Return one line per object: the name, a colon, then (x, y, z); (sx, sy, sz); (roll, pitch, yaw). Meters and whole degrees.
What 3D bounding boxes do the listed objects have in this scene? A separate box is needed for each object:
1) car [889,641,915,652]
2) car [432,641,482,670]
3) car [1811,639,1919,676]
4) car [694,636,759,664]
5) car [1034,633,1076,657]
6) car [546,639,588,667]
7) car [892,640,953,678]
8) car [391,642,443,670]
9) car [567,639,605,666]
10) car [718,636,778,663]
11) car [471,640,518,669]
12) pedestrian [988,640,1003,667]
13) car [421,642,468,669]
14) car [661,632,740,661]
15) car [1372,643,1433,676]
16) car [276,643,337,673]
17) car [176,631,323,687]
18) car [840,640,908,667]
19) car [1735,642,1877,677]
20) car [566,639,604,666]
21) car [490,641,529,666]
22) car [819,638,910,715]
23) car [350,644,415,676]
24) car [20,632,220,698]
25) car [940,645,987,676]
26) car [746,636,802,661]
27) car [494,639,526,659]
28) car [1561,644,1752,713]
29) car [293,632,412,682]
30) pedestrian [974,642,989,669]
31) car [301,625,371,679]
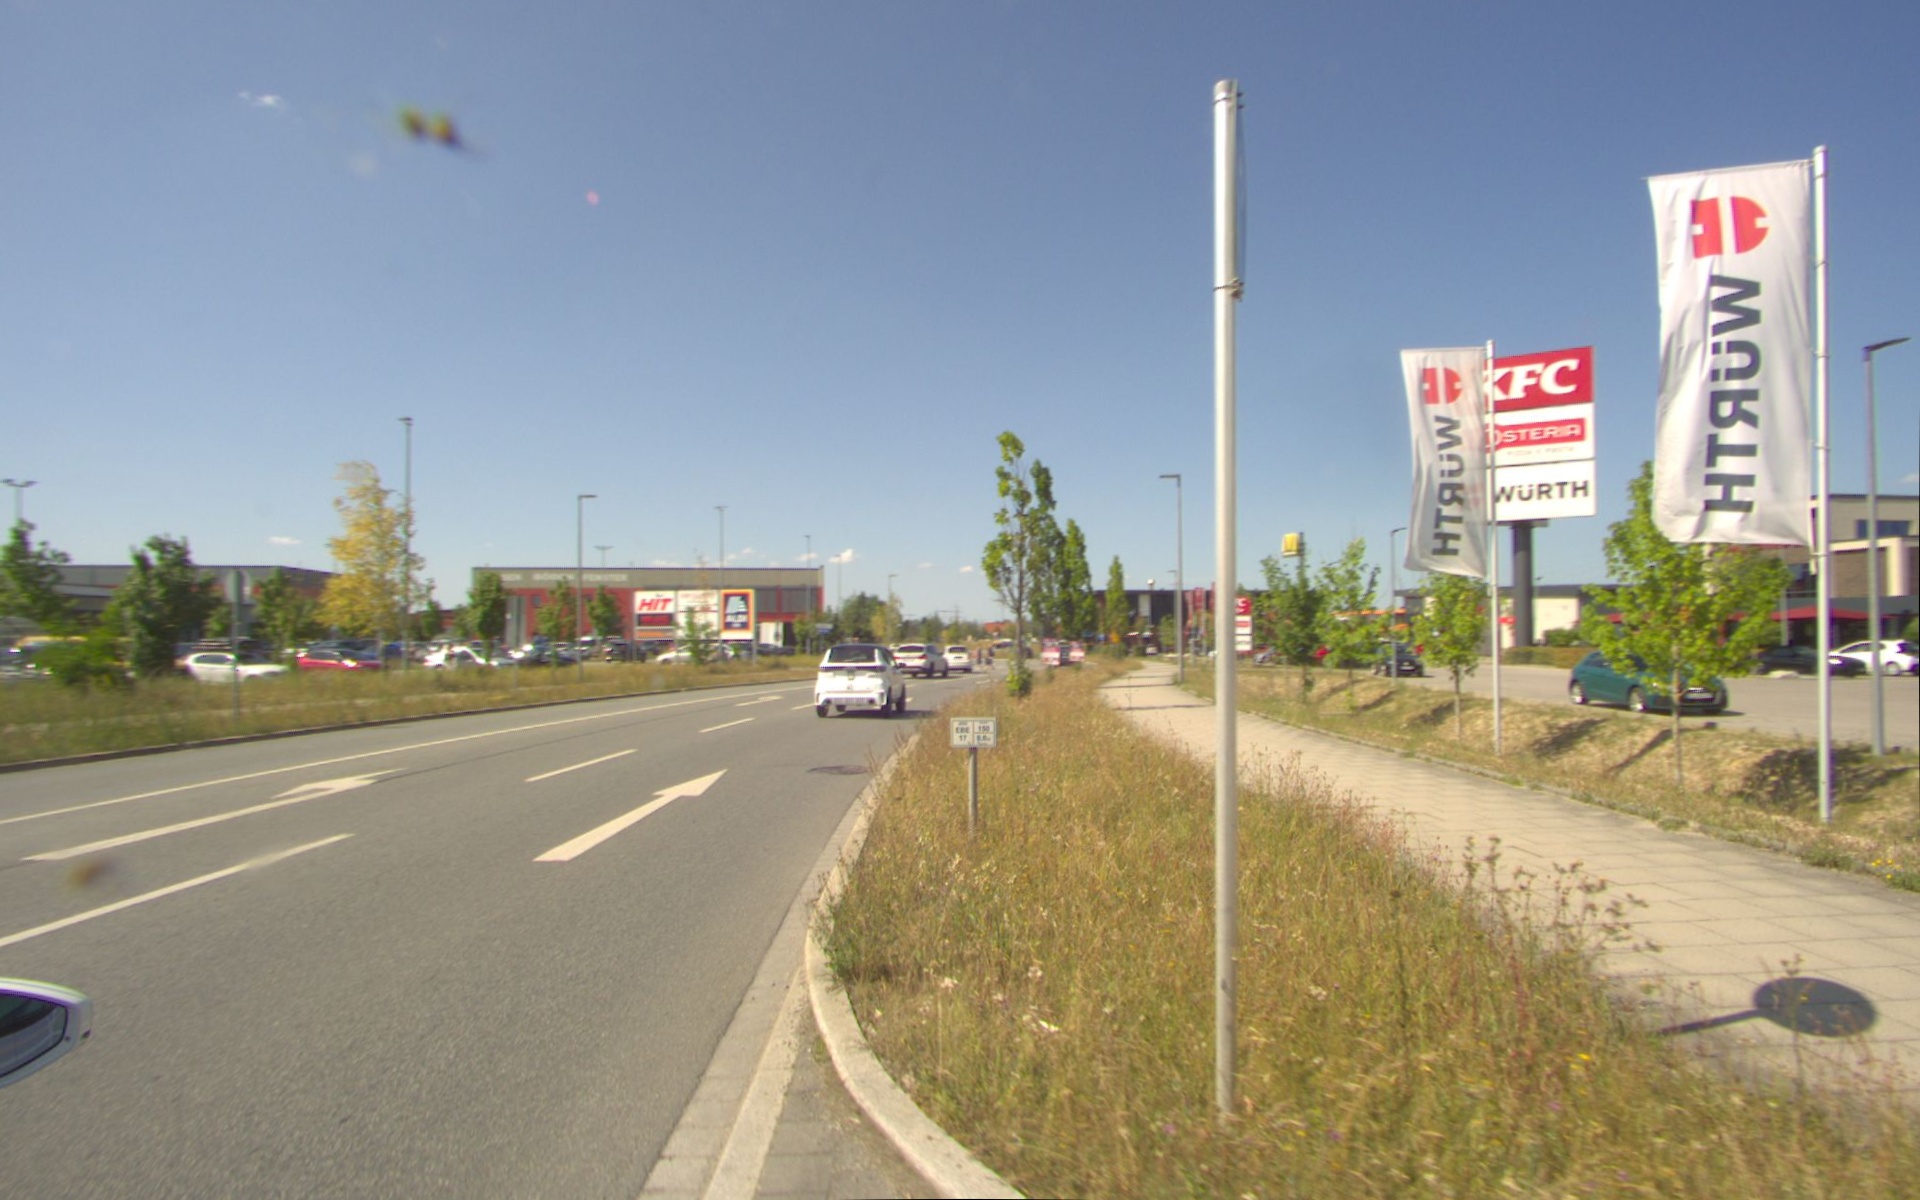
car: (-9.943, 7.896, 170.839); (3.946, 1.750, 1.989); (1, -2, -33)
car: (-37.836, 4.135, 75.436); (1.962, 2.063, 4.485); (-1, -2, -8)
car: (39.188, 2.445, 42.823); (1.771, 1.493, 3.910); (0, -2, -15)
car: (-17.814, 3.839, 76.574); (4.397, 2.063, 2.001); (-1, -2, 4)
car: (6.321, 2.957, 66.201); (1.964, 1.570, 3.838); (-1, -2, 18)
car: (-29.906, 4.038, 76.379); (1.962, 2.063, 4.485); (-1, -2, -8)
car: (-1.640, 2.637, 45.462); (1.709, 1.571, 4.570); (-1, -2, 11)
car: (-40.520, 4.156, 74.849); (1.962, 2.063, 4.485); (-1, -2, -8)
car: (-30.703, 4.300, 82.401); (1.962, 2.063, 4.485); (-1, -2, -8)
car: (-17.245, 4.034, 81.554); (4.397, 2.063, 2.001); (-1, -2, 4)
car: (-35.339, 4.123, 76.186); (1.962, 2.063, 4.485); (-1, -2, -8)
pedestrian: (2.251, 3.403, 63.927); (0.658, 1.685, 0.706); (-1, -2, 38)
car: (-41.330, 4.398, 80.378); (1.962, 2.063, 4.485); (-1, -2, -8)
car: (-16.467, 2.956, 63.682); (4.398, 1.737, 2.001); (-1, -2, 6)
car: (20.835, 2.776, 47.301); (1.843, 1.484, 4.362); (-1, -2, 14)
car: (-47.836, 4.221, 73.388); (1.962, 2.063, 4.485); (-1, -2, -8)
car: (-26.436, 2.191, 37.334); (4.326, 2.039, 1.944); (-1, -2, 9)
car: (-5.191, 3.234, 60.615); (3.712, 1.571, 1.741); (-1, -2, 12)
car: (34.692, 2.429, 41.201); (1.800, 1.354, 4.146); (1, -3, -20)
car: (-30.827, 4.300, 82.369); (1.962, 2.063, 4.485); (-1, -2, -8)
car: (-40.113, 4.744, 89.274); (1.962, 2.063, 4.485); (-1, -2, -8)
car: (-1.964, 1.574, 21.290); (1.450, 1.509, 3.002); (1, -2, 3)
car: (-35.446, 3.653, 61.635); (1.962, 1.806, 4.316); (-1, -2, -8)
car: (-27.030, 2.060, 32.296); (5.018, 2.039, 2.165); (-1, -2, 9)
car: (0.225, 3.283, 54.776); (1.709, 1.571, 3.781); (-1, -2, 14)
car: (-16.185, 4.243, 87.054); (4.397, 2.063, 2.001); (-1, -2, 4)
car: (-49.623, 5.371, 110.426); (1.962, 2.063, 4.485); (-1, -2, -8)
car: (16.133, 1.776, 23.506); (1.810, 1.467, 4.229); (0, -2, 5)
car: (-25.564, 2.380, 42.160); (4.060, 2.039, 1.883); (-1, -2, 11)
pedestrian: (1.373, 3.515, 63.458); (0.658, 1.685, 0.706); (-1, -2, 38)
car: (-34.505, 2.858, 55.468); (1.963, 2.857, 4.482); (-1, -2, -13)
